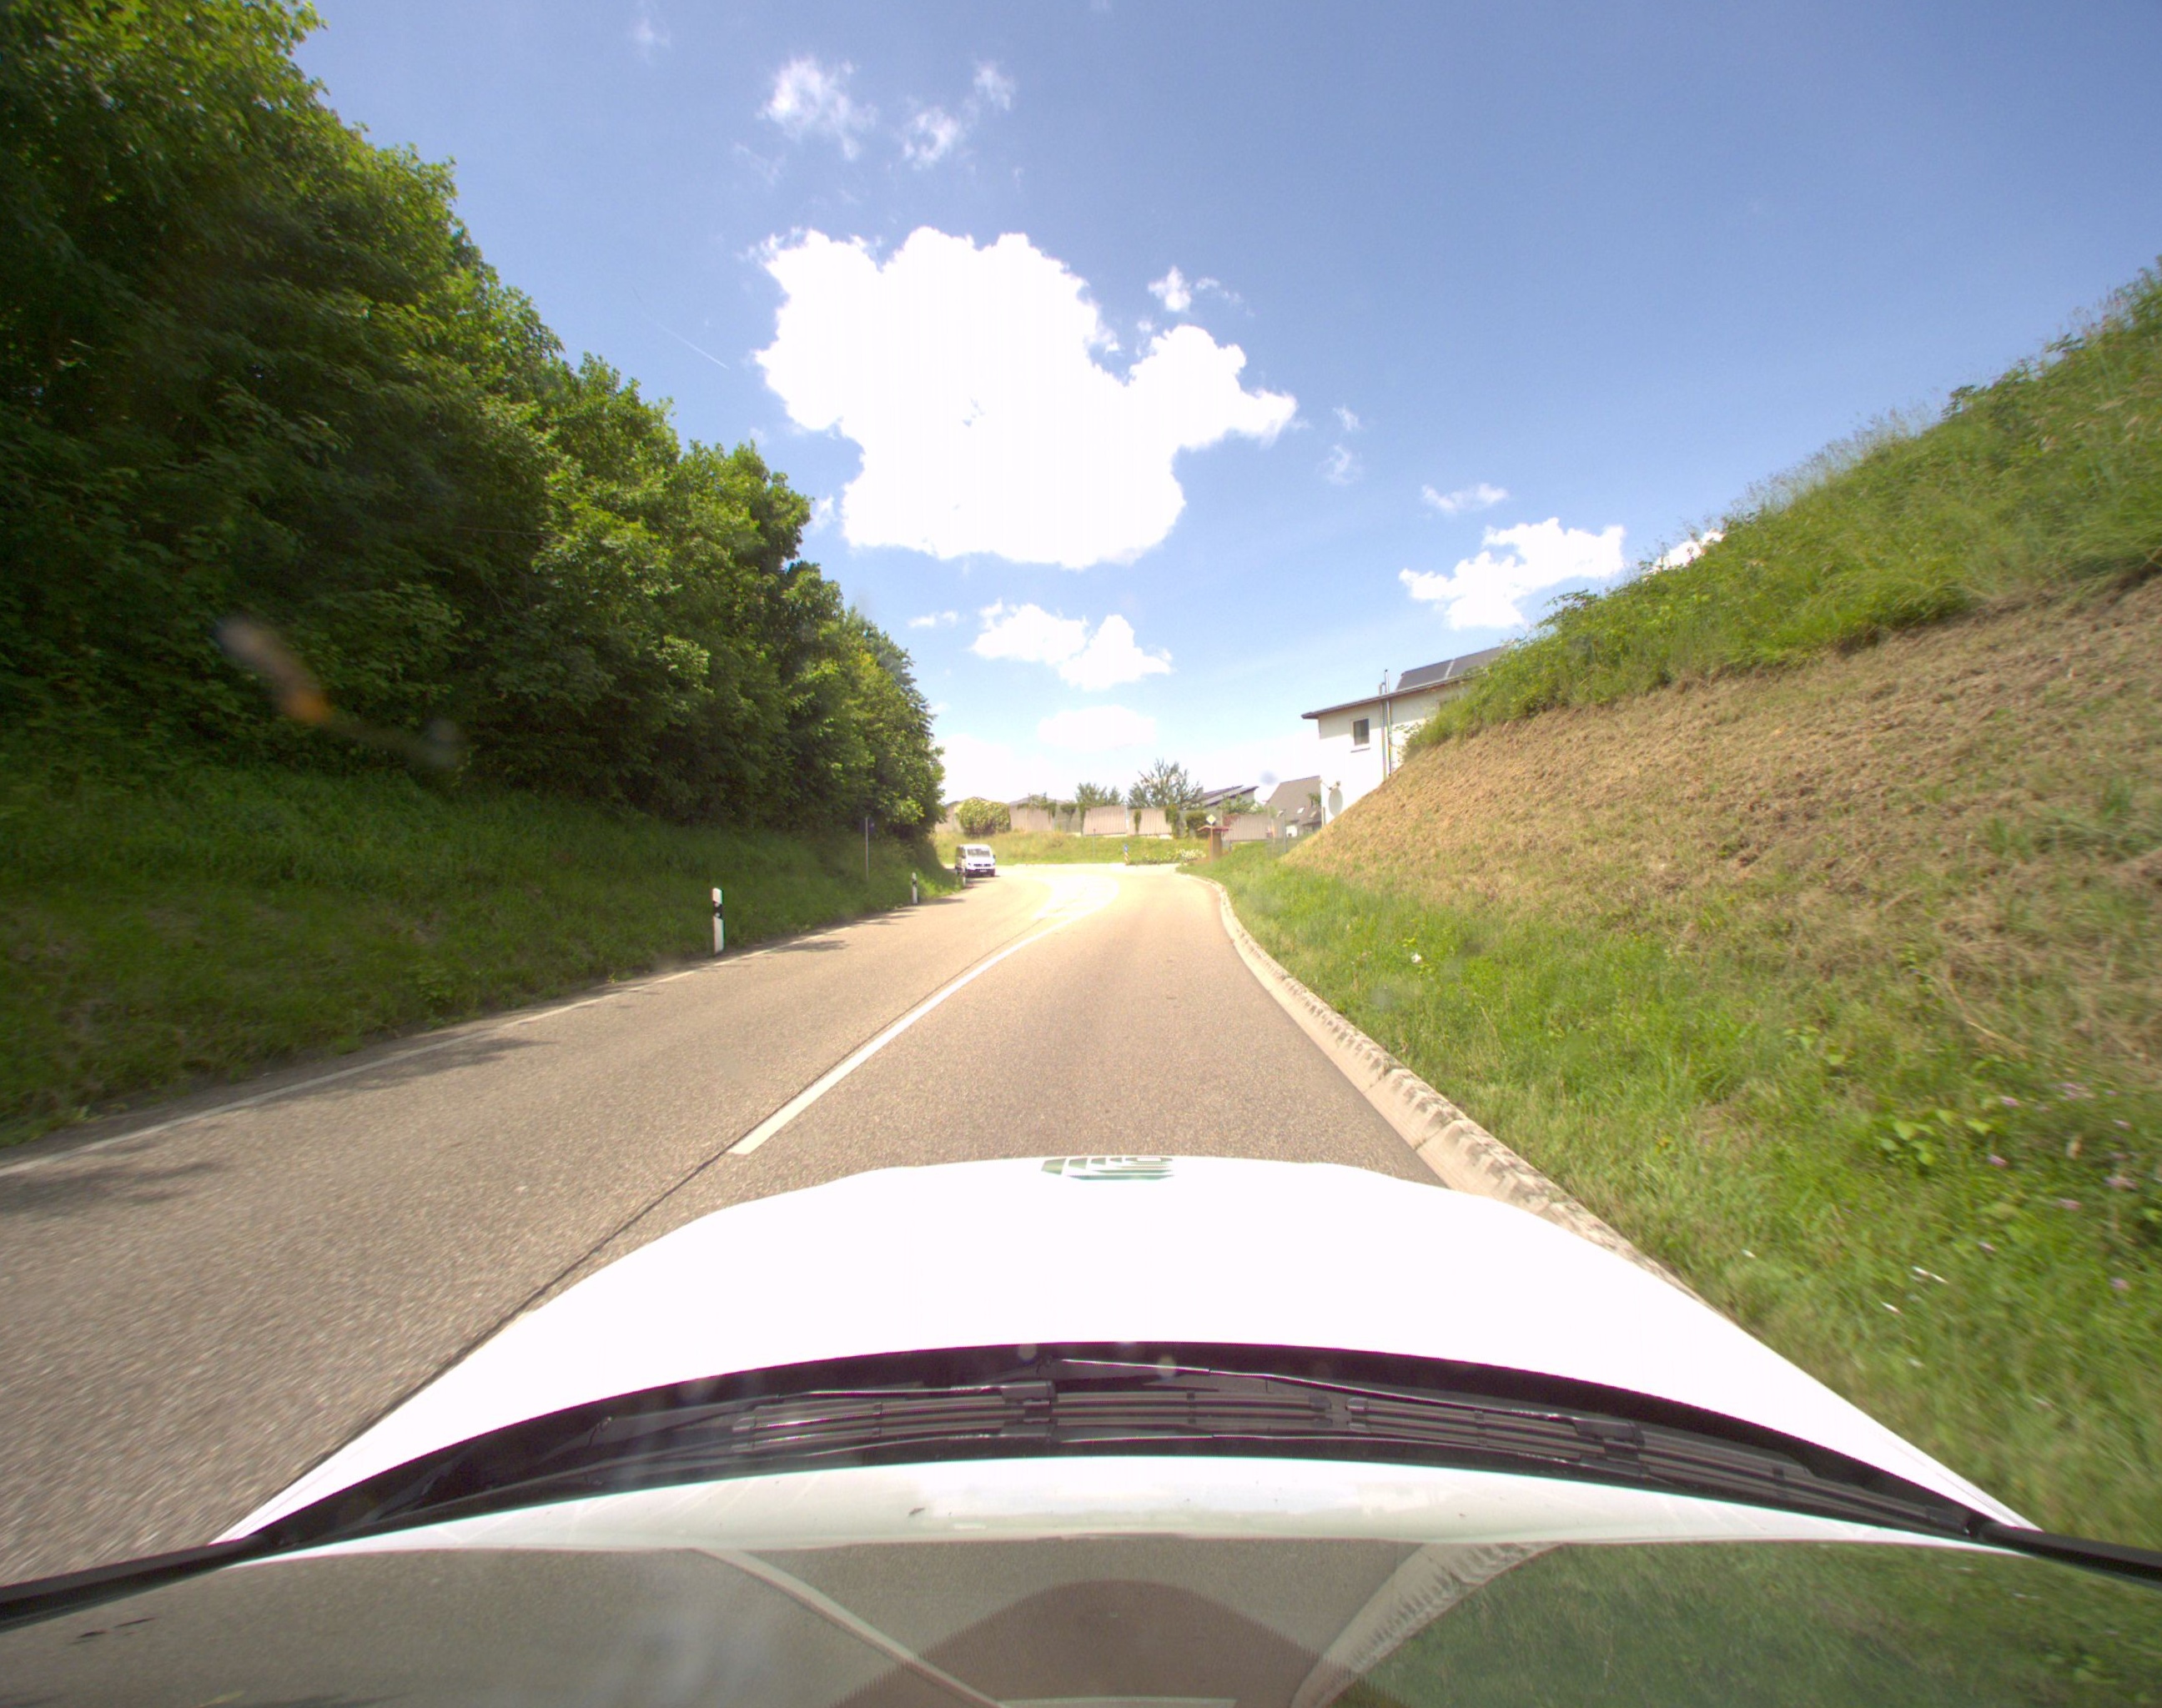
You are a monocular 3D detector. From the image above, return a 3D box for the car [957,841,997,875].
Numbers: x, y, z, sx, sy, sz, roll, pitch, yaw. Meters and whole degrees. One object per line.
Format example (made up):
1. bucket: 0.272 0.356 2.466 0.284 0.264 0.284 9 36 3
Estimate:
1. car: -7.590 0.303 58.961 2.089 2.290 5.917 -1 0 -14
